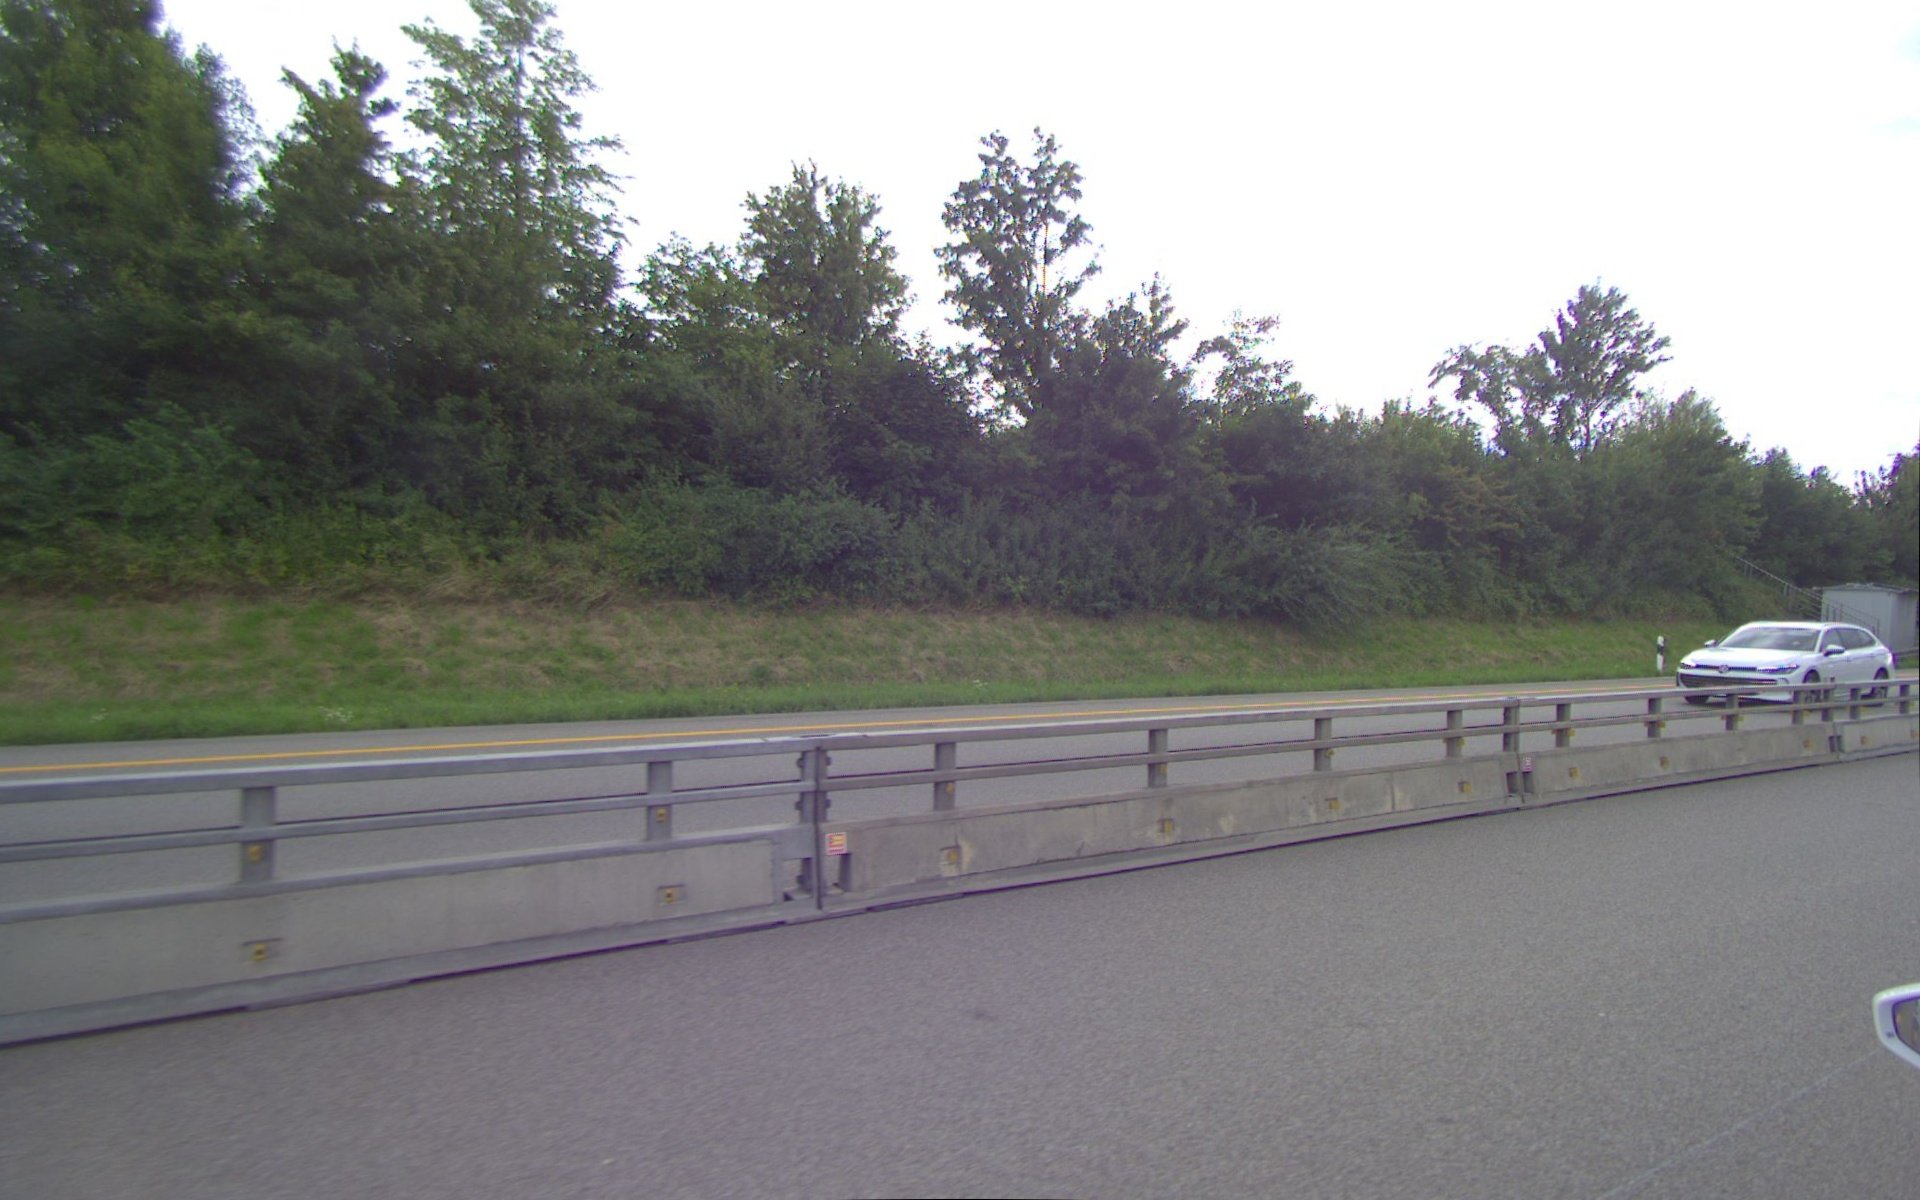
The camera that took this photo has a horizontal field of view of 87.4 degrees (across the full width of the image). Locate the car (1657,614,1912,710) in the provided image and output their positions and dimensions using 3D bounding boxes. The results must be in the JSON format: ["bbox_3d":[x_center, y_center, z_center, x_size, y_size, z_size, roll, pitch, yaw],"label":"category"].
[{"bbox_3d":[14.964,1.041,18.182,4.843,1.488,1.998,1,1,-30],"label":"car"}]
